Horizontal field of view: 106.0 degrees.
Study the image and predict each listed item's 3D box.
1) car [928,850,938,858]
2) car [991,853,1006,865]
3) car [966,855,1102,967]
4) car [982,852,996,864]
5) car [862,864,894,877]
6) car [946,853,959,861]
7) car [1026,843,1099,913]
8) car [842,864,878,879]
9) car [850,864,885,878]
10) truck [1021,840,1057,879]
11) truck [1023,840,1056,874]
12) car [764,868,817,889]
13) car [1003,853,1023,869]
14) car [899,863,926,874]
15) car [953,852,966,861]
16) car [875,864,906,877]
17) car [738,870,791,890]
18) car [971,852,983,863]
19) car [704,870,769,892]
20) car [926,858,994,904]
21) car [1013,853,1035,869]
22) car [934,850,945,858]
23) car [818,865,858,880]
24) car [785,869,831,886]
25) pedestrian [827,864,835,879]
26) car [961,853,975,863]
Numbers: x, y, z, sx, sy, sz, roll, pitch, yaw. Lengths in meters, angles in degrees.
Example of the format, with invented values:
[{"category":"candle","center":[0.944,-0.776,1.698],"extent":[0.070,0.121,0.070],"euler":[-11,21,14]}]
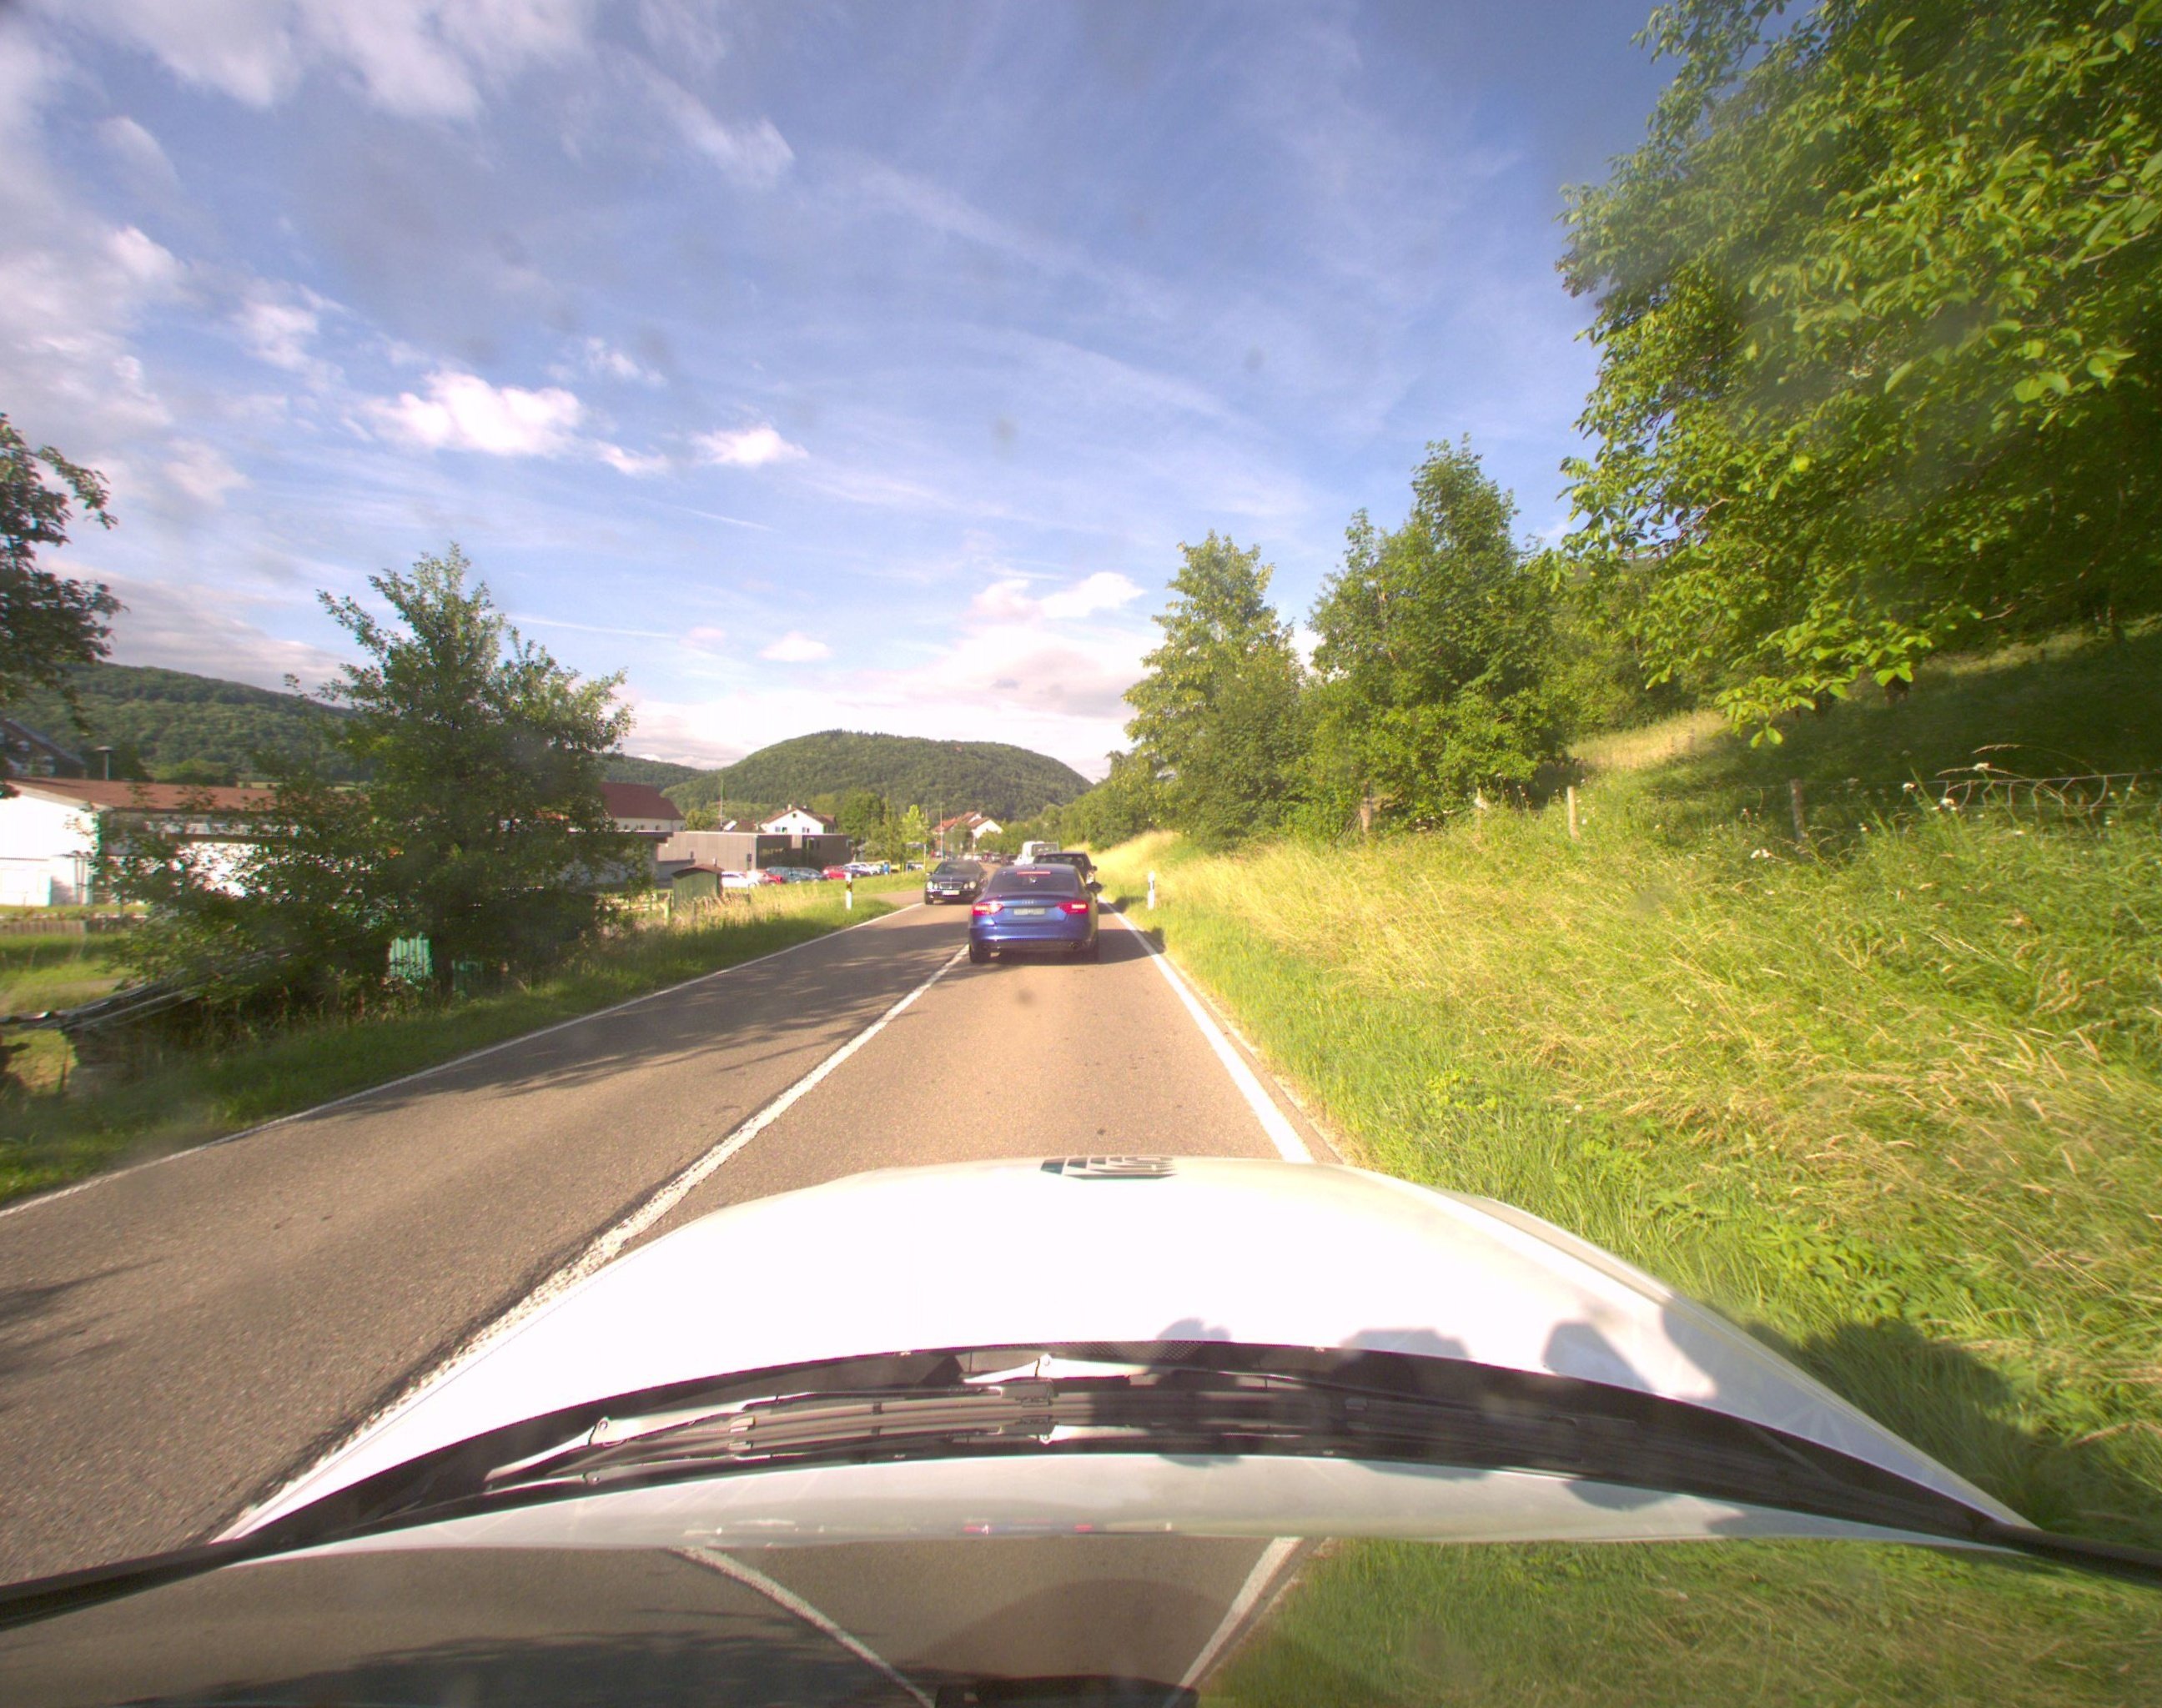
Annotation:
[{"category":"car","center":[-35.290,0.026,194.489],"extent":[1.851,1.712,3.974],"euler":[0,-1,-19]},{"category":"car","center":[-12.105,0.687,119.020],"extent":[1.846,1.712,3.986],"euler":[-1,0,-10]},{"category":"car","center":[-0.614,0.750,12.506],"extent":[1.749,1.430,3.845],"euler":[-1,0,0]},{"category":"car","center":[-14.370,0.626,126.839],"extent":[1.846,1.712,3.986],"euler":[-1,0,-10]},{"category":"car","center":[-27.663,2.266,111.098],"extent":[3.979,1.711,1.997],"euler":[-1,-1,-4]},{"category":"car","center":[-23.956,0.490,151.842],"extent":[1.709,1.430,4.025],"euler":[0,0,-18]},{"category":"car","center":[-0.449,0.605,21.700],"extent":[1.749,1.681,3.845],"euler":[-1,0,0]},{"category":"car","center":[-27.666,2.200,102.028],"extent":[3.979,1.711,1.997],"euler":[-1,-1,-4]},{"category":"car","center":[-27.621,2.223,105.313],"extent":[3.979,1.711,1.997],"euler":[-1,-1,-4]},{"category":"truck","center":[-2.890,0.398,57.586],"extent":[2.223,2.570,6.101],"euler":[-1,0,0]},{"category":"truck","center":[-3.420,0.222,65.535],"extent":[2.227,2.570,6.692],"euler":[-1,0,-7]},{"category":"car","center":[-28.150,2.366,79.017],"extent":[4.397,2.008,1.997],"euler":[-1,-1,-4]},{"category":"car","center":[-7.521,0.787,90.046],"extent":[1.846,1.712,3.985],"euler":[-1,0,-11]},{"category":"car","center":[-26.462,2.256,128.157],"extent":[3.979,1.579,1.750],"euler":[-1,-1,-4]},{"category":"car","center":[-23.943,0.436,160.920],"extent":[1.851,1.712,3.974],"euler":[0,-1,-19]},{"category":"car","center":[-26.596,2.272,113.684],"extent":[3.979,1.711,1.997],"euler":[-1,-1,-4]},{"category":"car","center":[-28.436,2.327,73.197],"extent":[3.979,1.711,1.997],"euler":[-1,-1,-4]},{"category":"car","center":[-17.381,0.586,136.338],"extent":[1.846,1.712,3.986],"euler":[-1,0,-10]},{"category":"car","center":[-29.621,2.319,70.197],"extent":[4.721,1.711,1.997],"euler":[-1,-1,-4]},{"category":"car","center":[-3.842,0.816,26.396],"extent":[1.589,1.354,4.201],"euler":[-1,0,-1]},{"category":"car","center":[-5.572,0.683,79.120],"extent":[1.845,1.482,3.987],"euler":[-1,0,-9]},{"category":"car","center":[-32.422,-0.061,186.722],"extent":[1.851,1.712,3.974],"euler":[0,-1,-19]},{"category":"car","center":[-27.946,2.142,93.790],"extent":[3.979,1.711,1.997],"euler":[-1,-1,-4]},{"category":"car","center":[-27.808,2.391,83.059],"extent":[3.979,1.711,1.997],"euler":[-1,-1,-4]},{"category":"pedestrian","center":[-33.809,2.326,110.100],"extent":[0.823,2.014,0.972],"euler":[-1,-1,-1]},{"category":"car","center":[-20.693,0.742,148.661],"extent":[1.851,1.712,3.974],"euler":[0,-1,-19]}]
